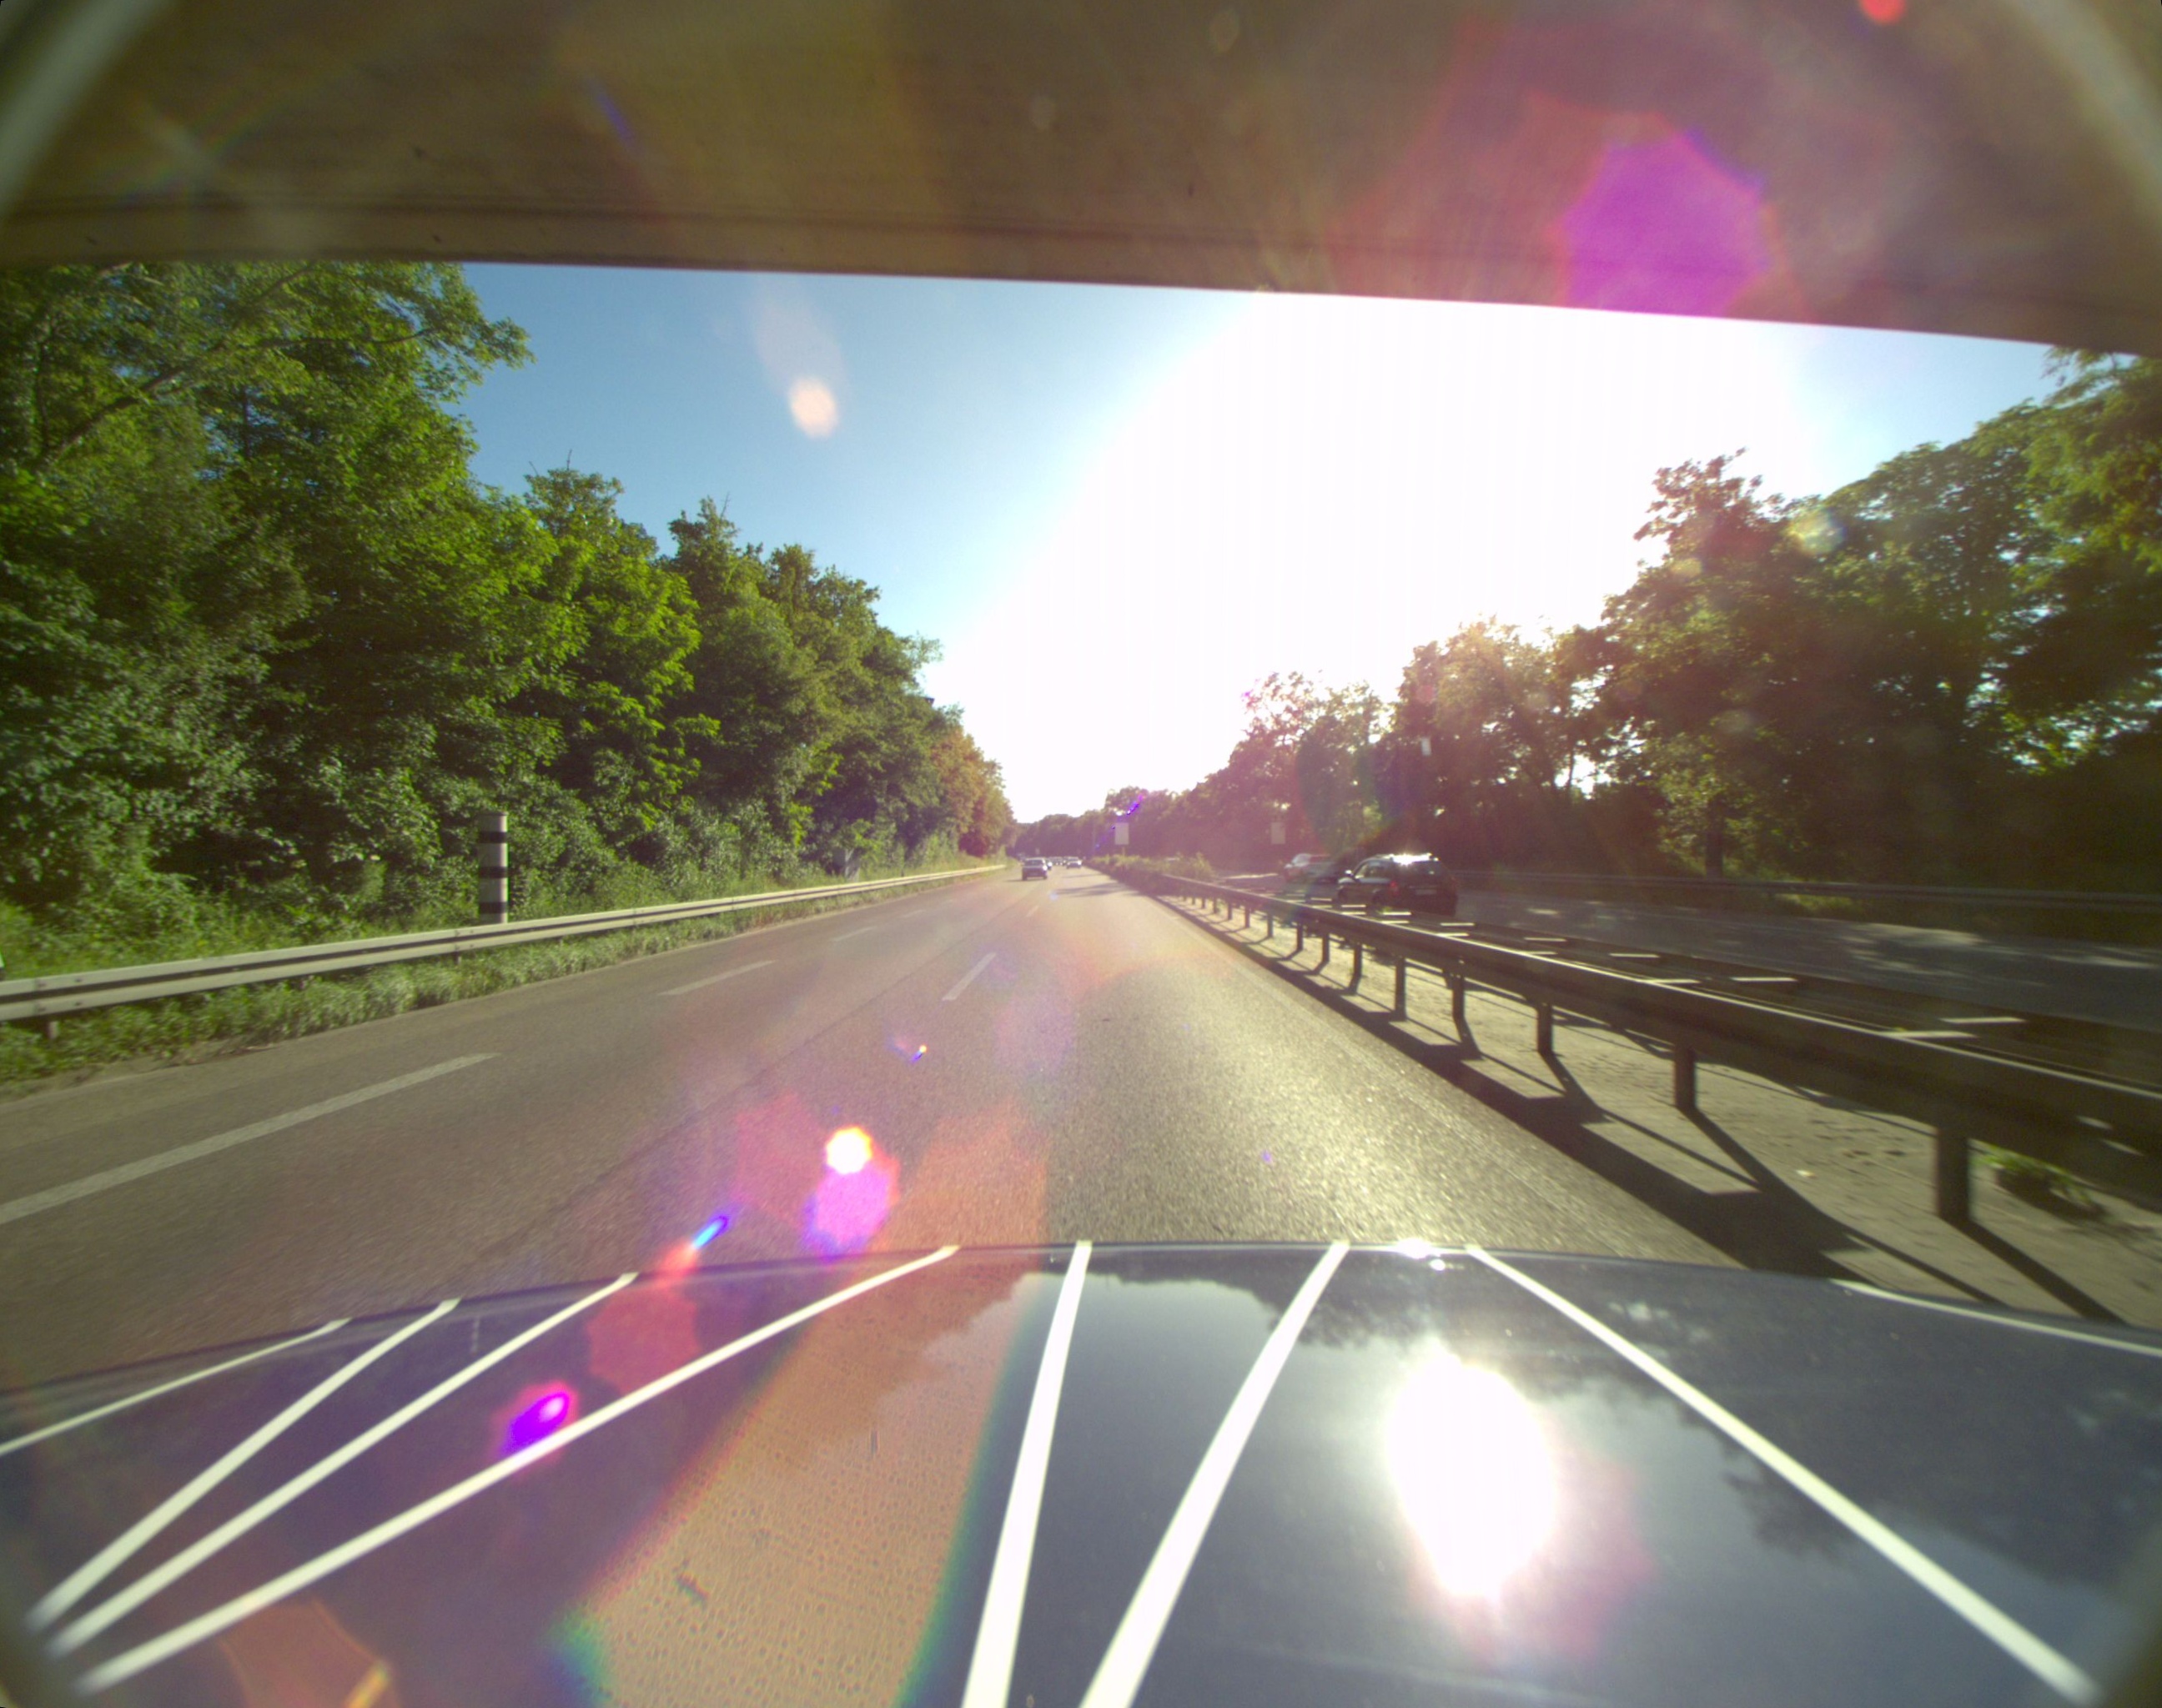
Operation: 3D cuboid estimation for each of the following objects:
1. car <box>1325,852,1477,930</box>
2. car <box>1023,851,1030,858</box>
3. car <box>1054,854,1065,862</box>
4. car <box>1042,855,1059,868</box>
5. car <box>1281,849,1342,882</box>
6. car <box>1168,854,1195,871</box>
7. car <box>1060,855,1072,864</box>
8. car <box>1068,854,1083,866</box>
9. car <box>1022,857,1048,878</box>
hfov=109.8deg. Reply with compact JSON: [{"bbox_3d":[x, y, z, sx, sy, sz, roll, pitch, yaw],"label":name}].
[{"bbox_3d":[8.165,0.856,19.927,1.965,1.714,4.592,-3,0,0],"label":"car"},{"bbox_3d":[-16.905,0.102,236.234,2.000,2.002,3.997,-1,0,-6],"label":"car"},{"bbox_3d":[-4.109,0.807,146.162,1.801,1.453,4.400,-1,0,-4],"label":"car"},{"bbox_3d":[-3.672,0.904,91.428,1.802,1.453,4.353,-1,0,-6],"label":"car"},{"bbox_3d":[13.035,0.607,43.309,1.965,1.649,5.040,-2,0,1],"label":"car"},{"bbox_3d":[9.371,0.768,71.215,1.856,1.480,4.784,-3,0,0],"label":"car"},{"bbox_3d":[-2.621,0.884,129.287,1.801,1.453,4.354,-1,0,-4],"label":"car"},{"bbox_3d":[-0.767,0.797,100.345,1.905,1.453,4.355,-1,0,-2],"label":"car"},{"bbox_3d":[-3.379,0.951,55.640,1.801,1.453,4.354,-1,0,-5],"label":"car"}]
